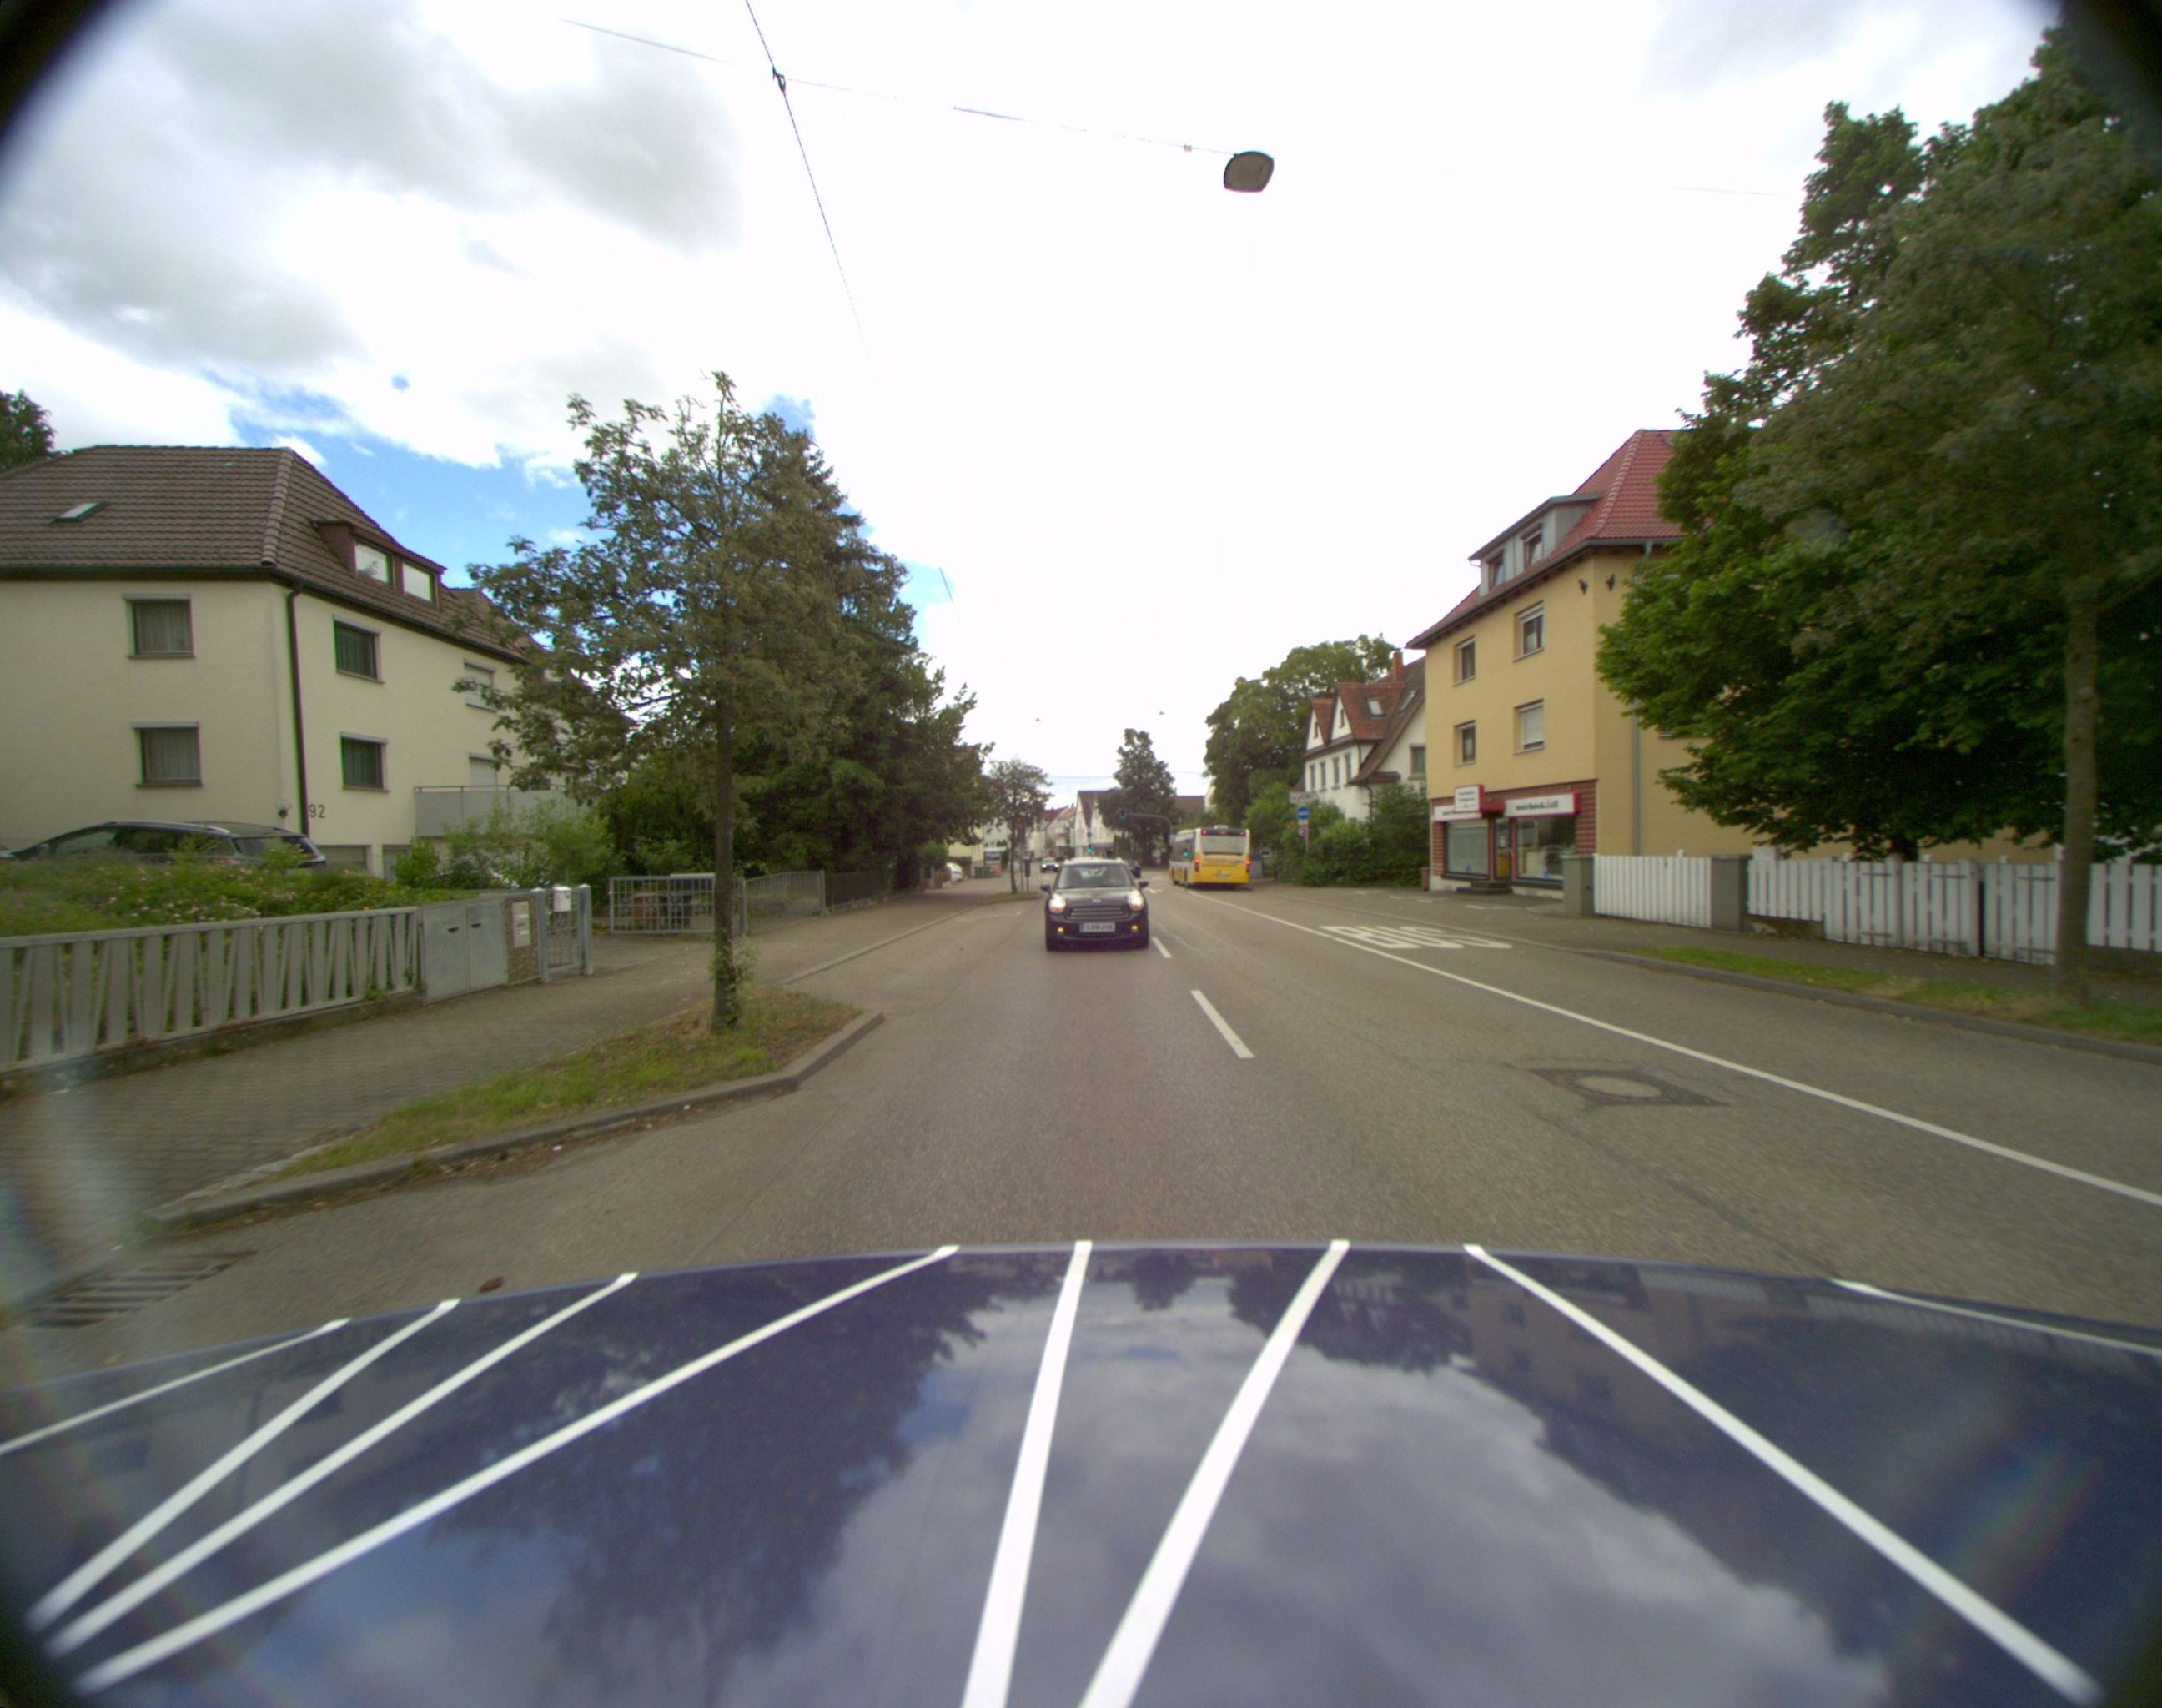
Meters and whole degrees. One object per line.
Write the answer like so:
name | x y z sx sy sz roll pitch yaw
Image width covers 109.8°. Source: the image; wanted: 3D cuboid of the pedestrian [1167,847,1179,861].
pedestrian | 11.540 0.035 95.724 0.825 1.744 1.226 -5 2 -34

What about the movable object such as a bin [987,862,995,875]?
movable object such as a bin | -7.740 1.242 65.227 0.638 1.041 0.585 -4 2 -8

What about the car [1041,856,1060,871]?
car | -3.597 1.064 88.658 1.846 1.510 3.997 -4 2 -5

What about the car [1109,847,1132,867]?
car | 3.523 0.218 68.349 1.763 1.626 4.593 0 2 -1

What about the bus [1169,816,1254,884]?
bus | 6.658 -0.241 40.690 2.638 3.068 12.068 -1 1 1

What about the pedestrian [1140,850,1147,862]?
pedestrian | 8.296 0.262 100.859 0.642 1.596 0.865 -4 2 -21

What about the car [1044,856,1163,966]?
car | 0.267 0.852 13.208 1.694 1.507 3.999 -3 0 -2

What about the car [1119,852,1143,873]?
car | 3.961 0.641 60.658 1.568 1.412 4.128 -2 2 -1

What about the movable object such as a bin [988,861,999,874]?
movable object such as a bin | -7.620 1.180 66.025 0.637 1.041 0.592 -2 2 24

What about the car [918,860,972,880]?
car | -10.191 1.182 57.057 3.814 1.394 1.639 0 2 -5

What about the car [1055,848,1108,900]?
car | 0.007 0.697 29.602 1.811 1.556 4.615 -3 3 0

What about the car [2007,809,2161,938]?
car | 14.023 0.243 8.398 1.811 1.555 4.616 0 0 -3

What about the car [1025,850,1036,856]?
car | -11.624 -0.172 174.662 1.635 1.404 3.994 -1 1 -14

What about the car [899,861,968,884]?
car | -10.175 1.266 52.791 4.431 1.480 1.864 0 2 -1

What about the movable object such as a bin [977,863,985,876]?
movable object such as a bin | -8.545 1.300 65.114 0.638 1.040 0.585 -2 2 -8

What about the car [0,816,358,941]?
car | -14.890 0.344 12.537 3.998 1.694 1.884 3 3 -3
